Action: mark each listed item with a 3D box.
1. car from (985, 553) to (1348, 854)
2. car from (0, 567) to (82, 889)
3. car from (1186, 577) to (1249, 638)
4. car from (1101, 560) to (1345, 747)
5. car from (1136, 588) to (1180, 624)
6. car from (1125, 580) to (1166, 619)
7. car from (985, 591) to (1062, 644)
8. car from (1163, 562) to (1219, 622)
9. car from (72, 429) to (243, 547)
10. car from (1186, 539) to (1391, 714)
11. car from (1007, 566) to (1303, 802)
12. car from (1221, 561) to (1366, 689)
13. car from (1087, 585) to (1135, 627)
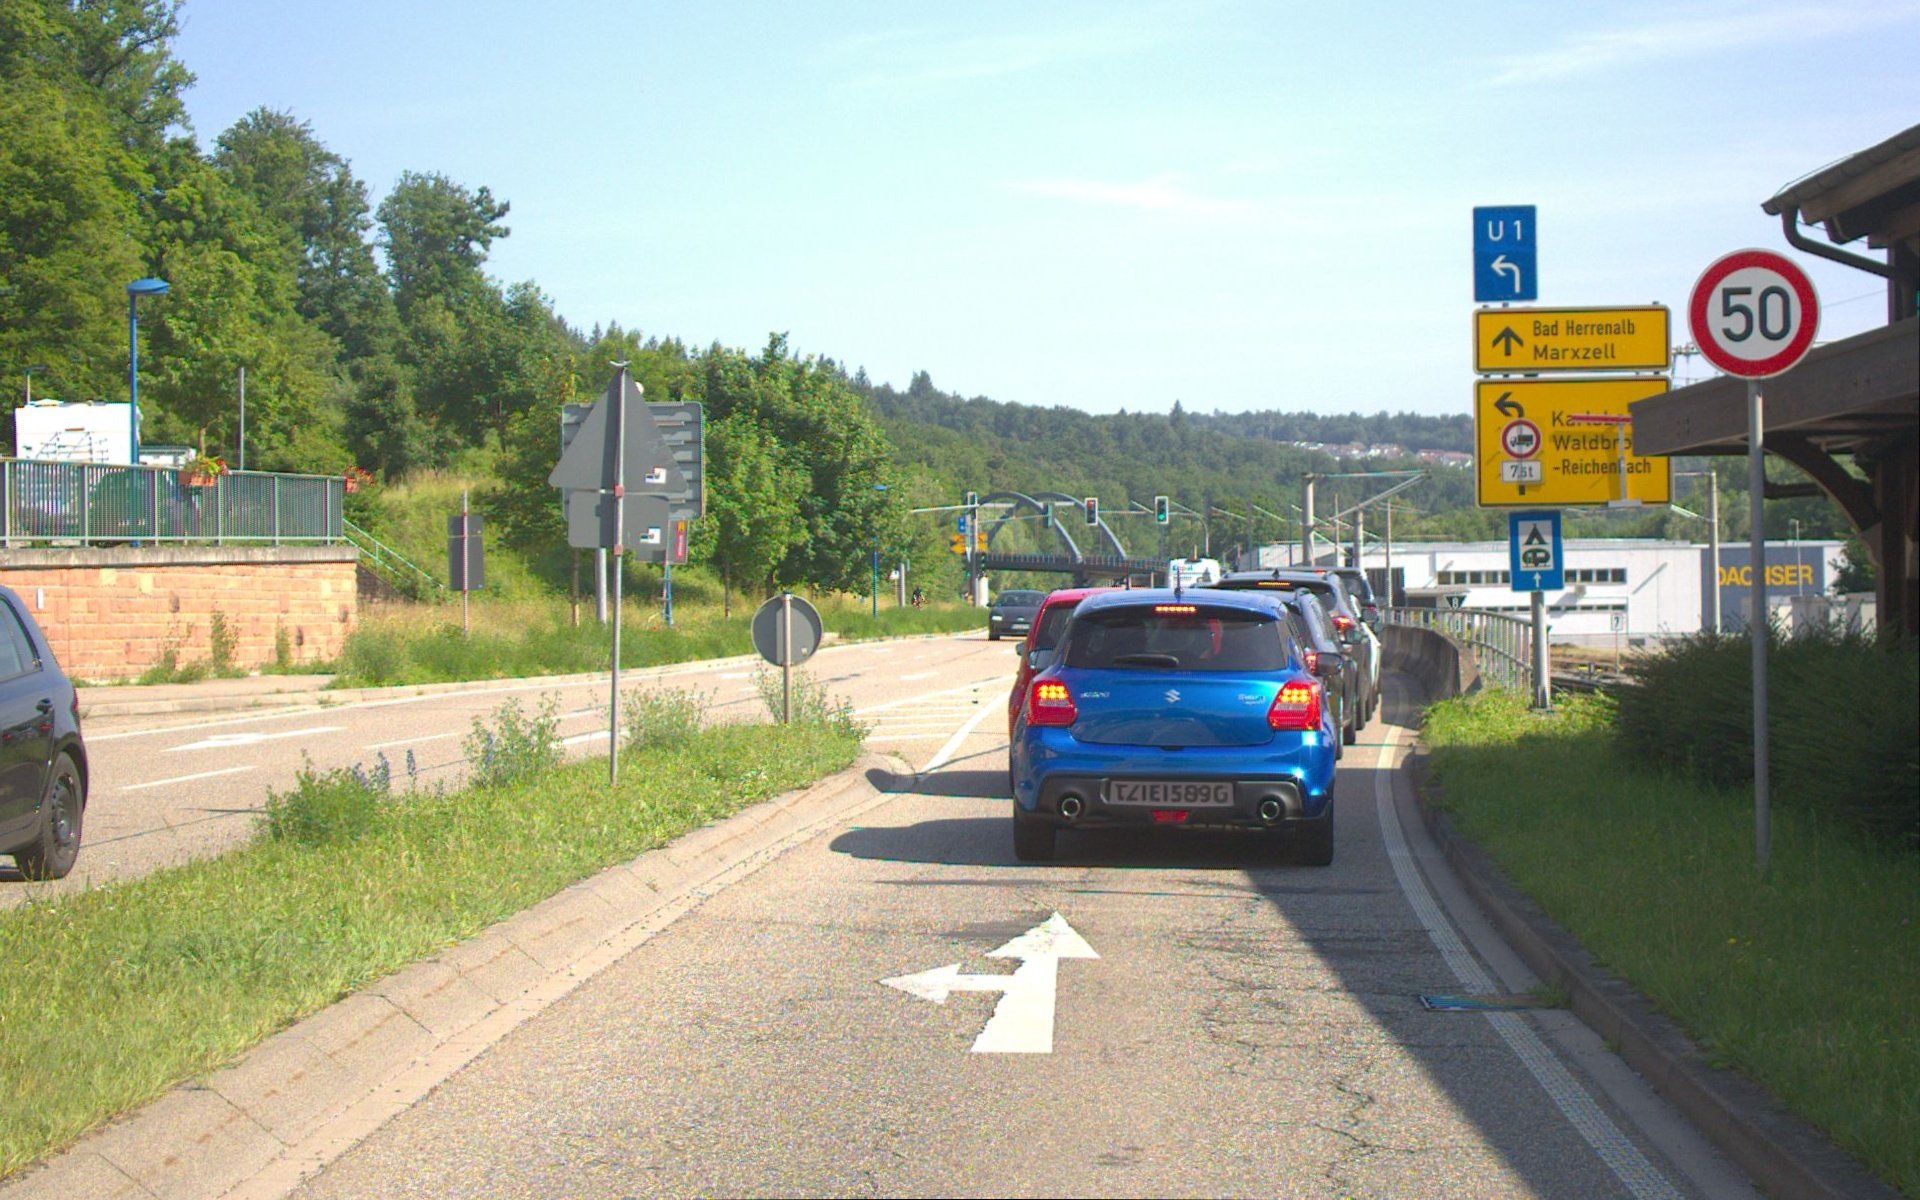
[{"bbox_3d":[1.185,0.513,19.821,1.868,1.543,4.000,0,1,3],"label":"car"},{"bbox_3d":[-5.228,0.594,14.919,1.745,1.457,4.044,0,1,1],"label":"car"},{"bbox_3d":[8.487,0.225,113.427,1.994,1.810,4.000,2,2,4],"label":"car"},{"bbox_3d":[2.398,0.417,30.694,1.994,1.526,4.601,0,1,6],"label":"car"},{"bbox_3d":[9.265,0.254,160.596,1.994,1.585,4.000,1,1,4],"label":"car"},{"bbox_3d":[9.934,-0.040,184.599,1.993,2.007,4.000,1,1,1],"label":"car"},{"bbox_3d":[1.898,0.490,101.268,1.792,1.465,4.715,0,1,7],"label":"car"},{"bbox_3d":[8.496,-0.310,126.289,1.994,2.137,4.719,1,0,4],"label":"car"},{"bbox_3d":[-13.907,-1.951,59.835,2.020,1.913,4.732,2,2,-3],"label":"car"},{"bbox_3d":[3.513,0.235,36.706,1.994,1.681,4.496,2,1,6],"label":"car"},{"bbox_3d":[1.526,0.564,25.481,1.994,1.566,3.999,1,0,6],"label":"car"},{"bbox_3d":[4.905,0.332,50.529,1.994,1.730,3.999,2,1,6],"label":"car"},{"bbox_3d":[6.751,0.266,153.031,1.994,1.777,3.999,1,0,4],"label":"car"}]
